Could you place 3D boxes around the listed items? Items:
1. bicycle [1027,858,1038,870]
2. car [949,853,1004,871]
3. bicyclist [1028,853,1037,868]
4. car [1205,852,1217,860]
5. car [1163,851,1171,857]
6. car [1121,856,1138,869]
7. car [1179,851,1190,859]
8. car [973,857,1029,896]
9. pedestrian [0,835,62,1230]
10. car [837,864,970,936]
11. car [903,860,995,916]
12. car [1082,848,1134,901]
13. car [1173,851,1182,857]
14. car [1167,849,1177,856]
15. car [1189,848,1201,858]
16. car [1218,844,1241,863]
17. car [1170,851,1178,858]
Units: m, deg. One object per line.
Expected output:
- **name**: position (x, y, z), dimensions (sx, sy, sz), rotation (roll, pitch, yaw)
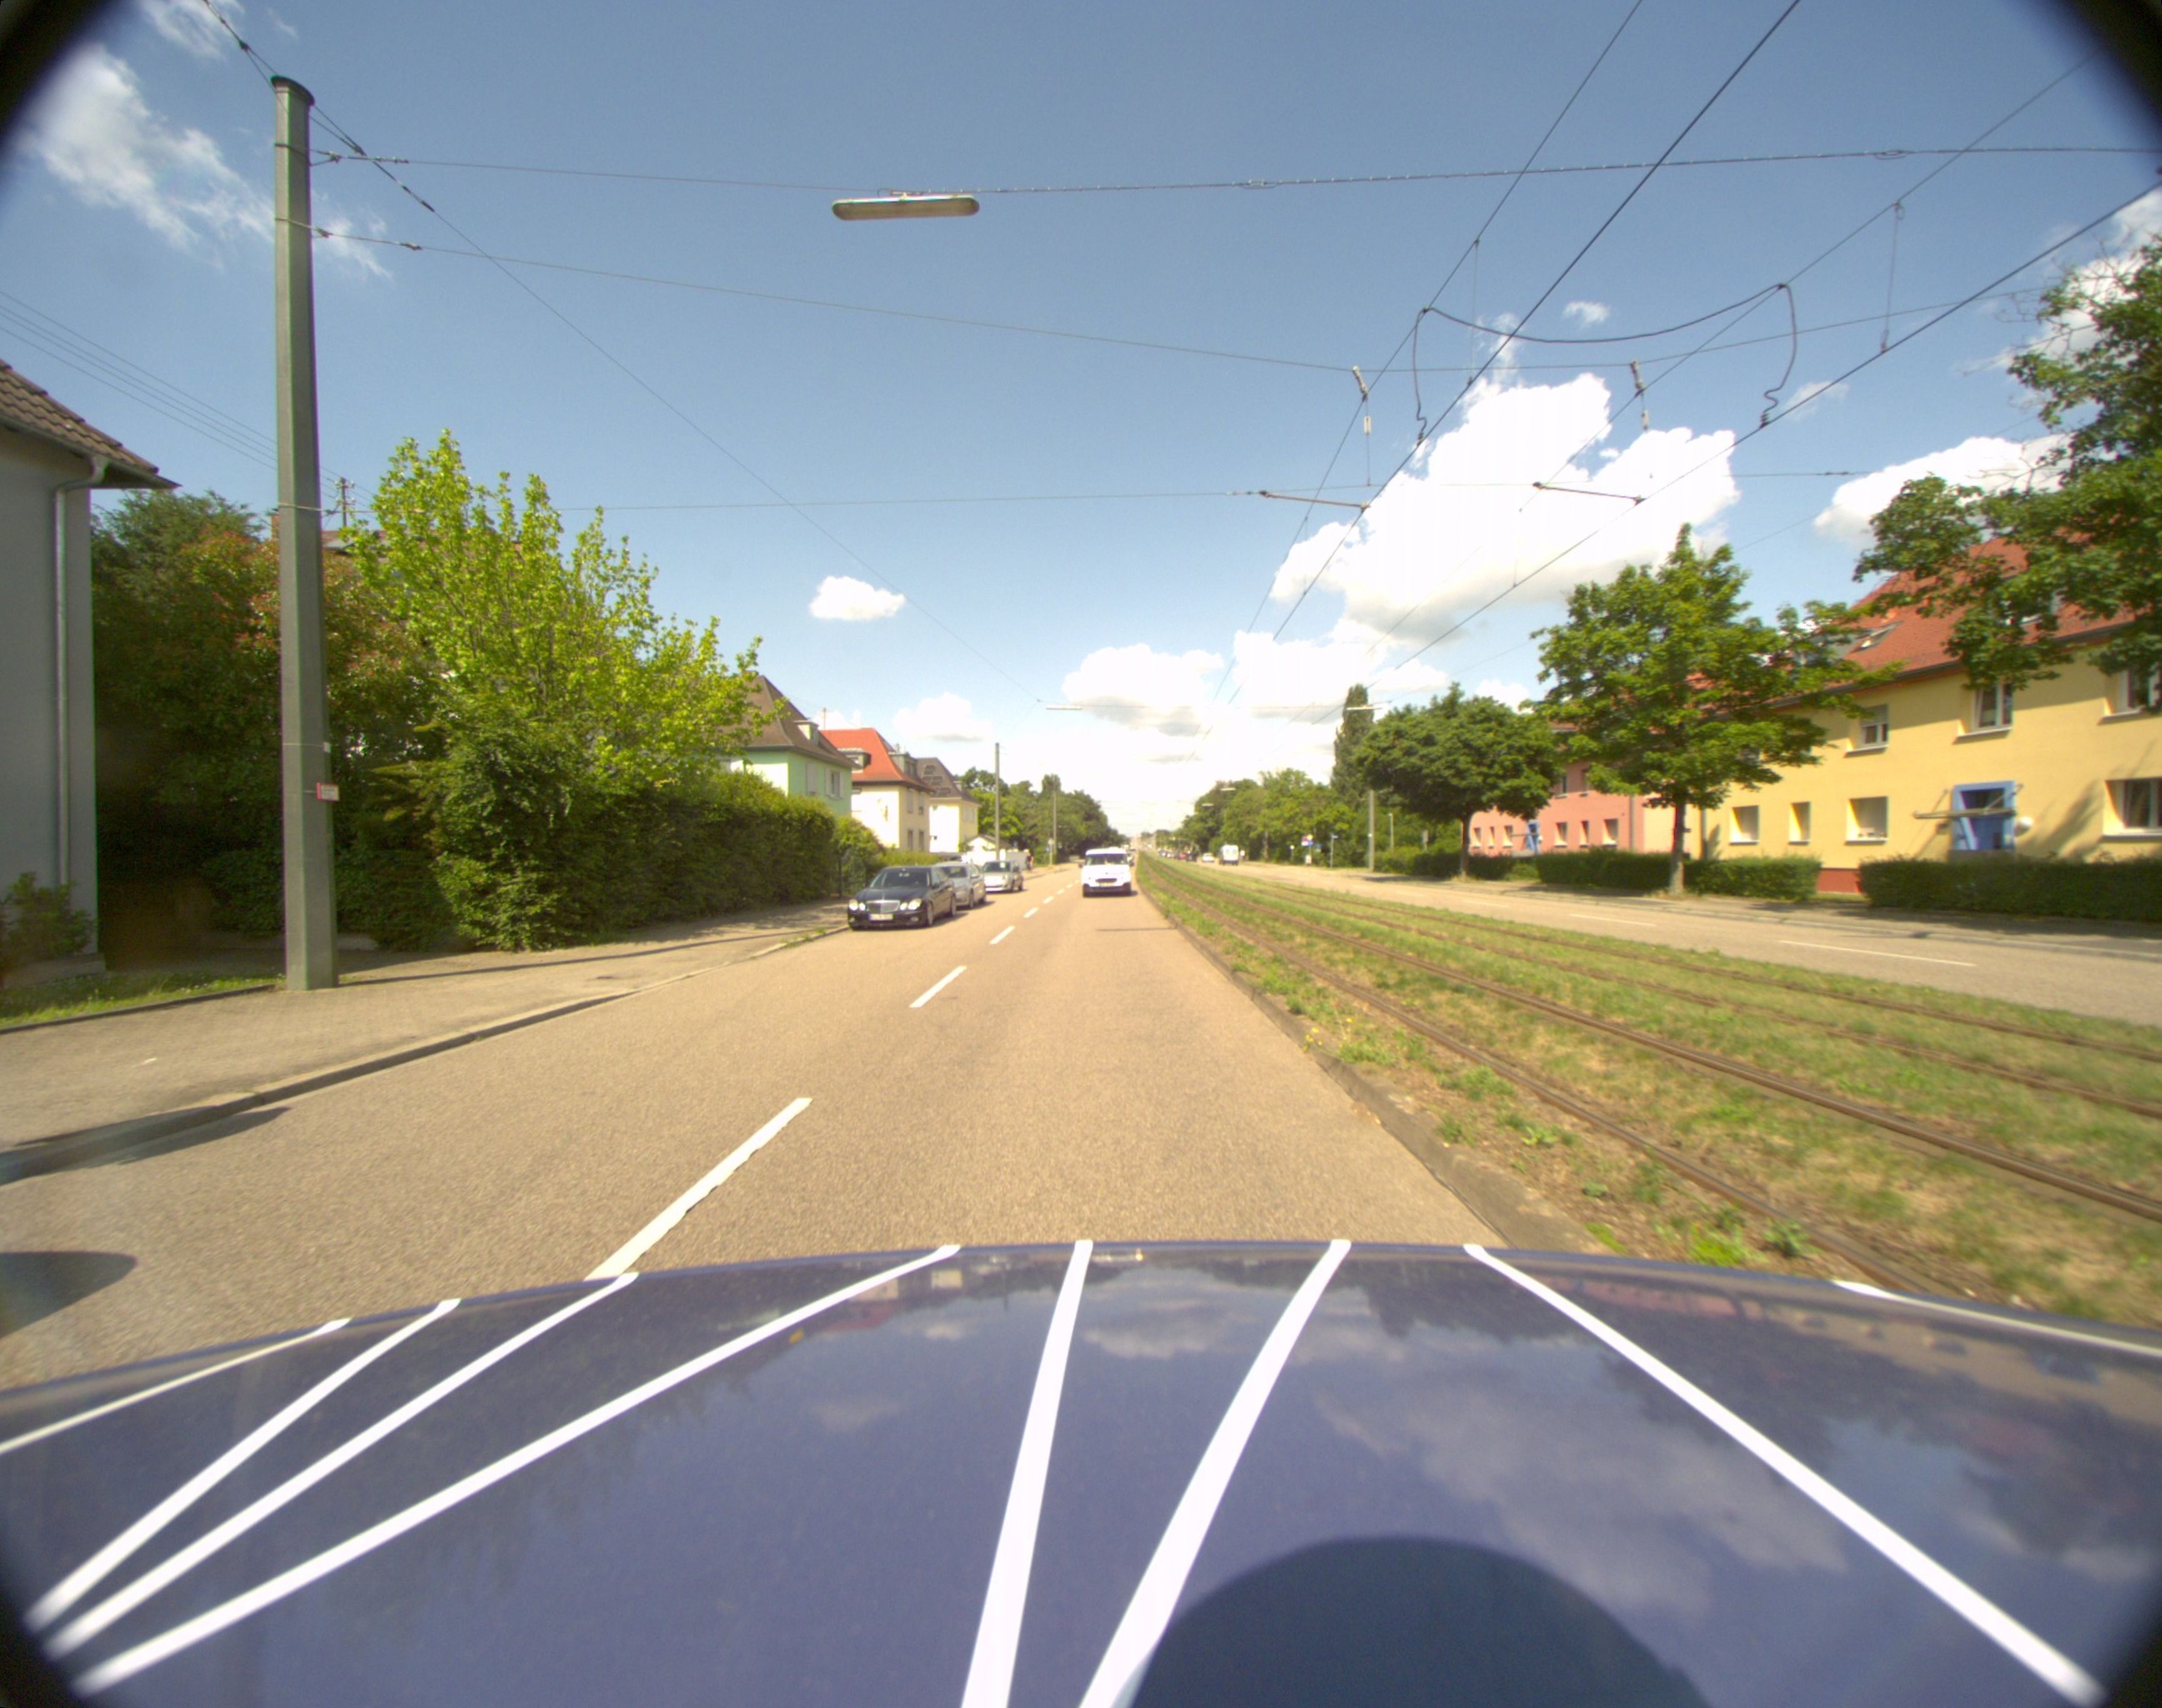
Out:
- **bicycle**: position (-4.310, 0.858, 67.747), dimensions (0.556, 1.059, 1.524), rotation (0, 0, 10)
- **car**: position (-9.132, 0.706, 66.485), dimensions (4.458, 1.452, 1.764), rotation (1, 1, 4)
- **bicyclist**: position (-4.320, 0.548, 67.740), dimensions (0.689, 1.345, 0.665), rotation (0, 1, 10)
- **car**: position (21.853, 0.323, 127.840), dimensions (1.689, 1.422, 4.277), rotation (0, 0, 4)
- **car**: position (24.221, -0.108, 214.057), dimensions (2.120, 1.642, 4.278), rotation (0, 0, 5)
- **car**: position (6.140, 1.068, 96.563), dimensions (1.998, 1.576, 4.000), rotation (-2, 1, 4)
- **car**: position (20.236, 0.239, 149.055), dimensions (1.731, 1.570, 4.277), rotation (0, 0, 3)
- **car**: position (-3.484, 0.958, 33.712), dimensions (1.741, 1.481, 4.095), rotation (-2, 1, 4)
- **pedestrian**: position (-5.888, 0.886, 3.406), dimensions (1.114, 1.935, 1.092), rotation (-1, 1, 4)
- **car**: position (-4.209, 1.037, 18.955), dimensions (1.904, 1.435, 5.058), rotation (-2, 0, 2)
- **car**: position (-4.084, 1.007, 24.391), dimensions (1.894, 1.447, 5.006), rotation (-2, 1, 1)
- **car**: position (0.977, 0.712, 29.094), dimensions (1.777, 1.850, 4.375), rotation (-2, 0, 0)
- **car**: position (20.998, -0.024, 165.550), dimensions (1.731, 1.386, 4.278), rotation (0, 0, 5)
- **car**: position (21.999, -0.287, 183.469), dimensions (2.120, 1.642, 4.278), rotation (0, 0, 5)
- **car**: position (19.065, -0.160, 127.475), dimensions (1.689, 1.736, 4.228), rotation (0, 0, 4)
- **car**: position (19.062, -0.066, 97.790), dimensions (2.036, 2.422, 5.779), rotation (1, 0, 4)
- **car**: position (24.284, 0.113, 197.804), dimensions (1.921, 1.642, 4.278), rotation (0, 0, 5)
